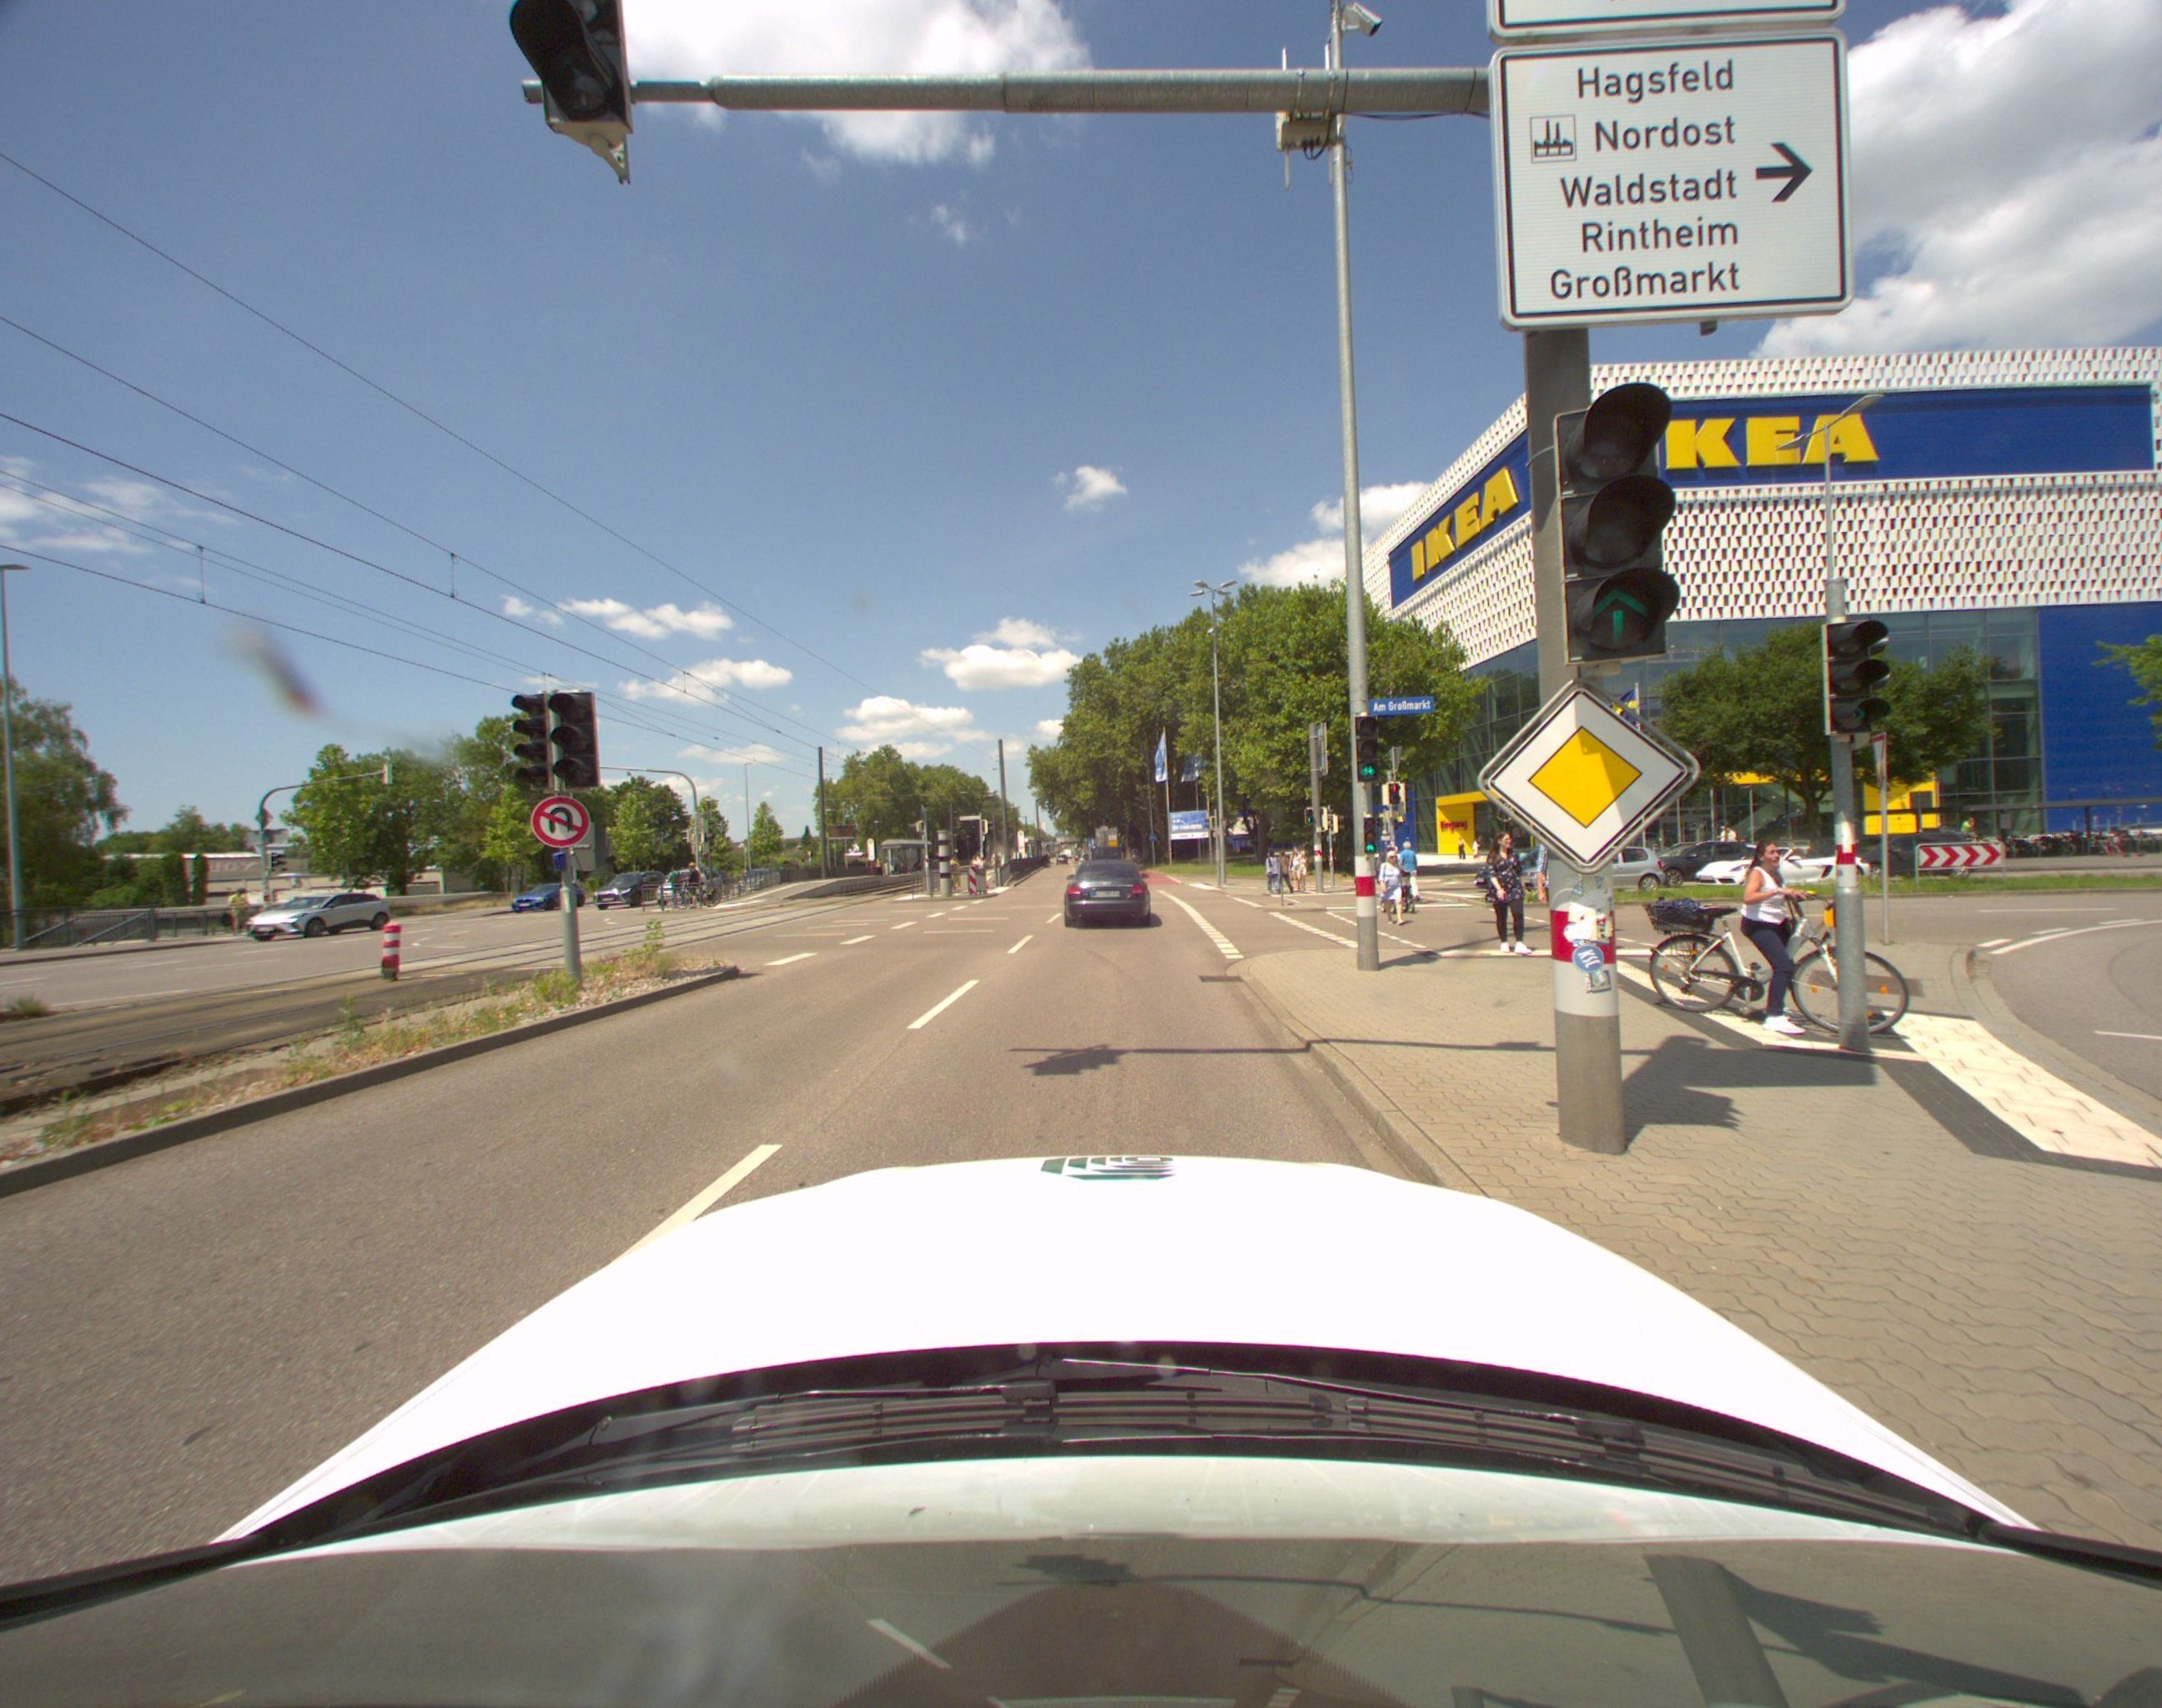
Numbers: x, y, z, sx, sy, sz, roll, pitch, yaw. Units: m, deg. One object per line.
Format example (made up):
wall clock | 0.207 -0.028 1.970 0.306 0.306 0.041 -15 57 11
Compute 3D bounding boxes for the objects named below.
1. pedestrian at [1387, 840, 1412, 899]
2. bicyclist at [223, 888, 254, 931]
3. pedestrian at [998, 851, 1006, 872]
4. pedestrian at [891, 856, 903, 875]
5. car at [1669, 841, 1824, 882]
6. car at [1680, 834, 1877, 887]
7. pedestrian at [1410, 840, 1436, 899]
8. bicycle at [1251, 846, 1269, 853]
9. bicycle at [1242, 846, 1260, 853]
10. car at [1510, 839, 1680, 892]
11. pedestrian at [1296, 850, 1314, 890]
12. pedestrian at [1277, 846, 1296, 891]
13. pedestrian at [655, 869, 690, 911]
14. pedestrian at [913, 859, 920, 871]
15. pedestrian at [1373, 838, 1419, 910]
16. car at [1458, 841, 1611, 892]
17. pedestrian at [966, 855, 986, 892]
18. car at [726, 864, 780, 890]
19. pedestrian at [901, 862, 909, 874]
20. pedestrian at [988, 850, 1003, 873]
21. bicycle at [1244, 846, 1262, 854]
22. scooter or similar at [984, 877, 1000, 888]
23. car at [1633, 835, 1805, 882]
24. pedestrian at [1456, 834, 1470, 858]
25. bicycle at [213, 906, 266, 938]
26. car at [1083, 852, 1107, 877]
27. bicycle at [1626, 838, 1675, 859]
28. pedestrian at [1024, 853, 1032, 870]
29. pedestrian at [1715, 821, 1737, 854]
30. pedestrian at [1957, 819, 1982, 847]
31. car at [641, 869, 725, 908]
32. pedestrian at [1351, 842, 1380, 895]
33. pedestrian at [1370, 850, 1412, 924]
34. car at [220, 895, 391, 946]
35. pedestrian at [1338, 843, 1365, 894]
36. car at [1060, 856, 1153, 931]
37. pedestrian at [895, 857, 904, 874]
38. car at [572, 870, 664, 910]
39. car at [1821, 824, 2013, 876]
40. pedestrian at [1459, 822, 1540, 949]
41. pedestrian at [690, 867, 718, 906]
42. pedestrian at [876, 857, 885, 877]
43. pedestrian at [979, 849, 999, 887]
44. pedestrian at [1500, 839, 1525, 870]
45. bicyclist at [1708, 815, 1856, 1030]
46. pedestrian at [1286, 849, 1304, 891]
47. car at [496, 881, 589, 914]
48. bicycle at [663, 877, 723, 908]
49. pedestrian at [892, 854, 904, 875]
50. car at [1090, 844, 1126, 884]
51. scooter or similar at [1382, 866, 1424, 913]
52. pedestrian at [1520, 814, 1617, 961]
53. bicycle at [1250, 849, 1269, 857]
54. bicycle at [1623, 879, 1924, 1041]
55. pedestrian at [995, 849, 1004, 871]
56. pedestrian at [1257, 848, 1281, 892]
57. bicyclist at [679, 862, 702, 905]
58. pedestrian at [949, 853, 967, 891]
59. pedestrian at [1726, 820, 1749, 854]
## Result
pedestrian | 9.085 0.446 23.218 0.600 1.638 0.868 -2 -2 21
bicyclist | -32.436 2.142 31.367 0.583 1.610 0.545 -2 0 5
pedestrian | -5.788 0.547 59.539 0.496 1.577 0.556 -2 0 -2
pedestrian | -16.400 0.992 72.542 0.817 1.638 0.582 -2 0 36
car | 25.479 0.271 31.293 4.384 1.398 1.864 -2 0 1
car | 20.296 0.171 23.812 4.205 1.398 1.804 -1 0 0
pedestrian | 9.643 0.435 22.974 0.597 1.638 0.868 -2 -2 21
bicycle | 25.766 -0.693 117.329 2.312 0.960 0.757 -1 0 -6
bicycle | 25.677 -0.636 122.952 2.542 0.970 0.757 -1 0 -6
car | 14.862 0.313 23.669 3.812 1.397 1.803 -1 0 -1
pedestrian | 8.983 0.624 32.683 0.525 1.580 0.612 -1 0 3
pedestrian | 7.867 0.536 31.115 0.618 1.683 0.729 -2 0 17
pedestrian | -16.412 1.423 32.743 0.954 1.610 0.763 -2 0 -3
pedestrian | -16.737 1.087 82.782 0.574 1.190 0.639 -2 0 0
pedestrian | 7.602 0.478 19.676 0.778 1.672 0.948 -1 0 6
car | 14.962 0.394 27.023 3.977 1.555 1.998 -1 0 -3
pedestrian | -4.600 0.854 35.602 0.783 1.572 0.763 -1 0 -4
car | -22.124 1.513 55.065 1.987 1.629 4.000 -1 0 0
pedestrian | -16.272 1.284 75.196 0.574 1.094 0.639 -2 0 0
pedestrian | -6.057 0.515 57.665 0.888 1.605 0.923 -2 0 -2
bicycle | 25.754 -0.647 121.685 2.542 1.110 0.757 -1 0 -6
scooter or similar | -4.375 1.399 39.939 0.725 0.506 0.457 -2 0 -4
car | 21.345 0.143 27.350 4.388 1.443 1.852 -1 0 -2
pedestrian | 28.849 -0.603 61.457 0.775 1.735 0.743 -2 0 11
bicycle | -32.420 2.599 31.370 1.521 1.193 0.591 -1 -2 6
car | 1.149 0.829 67.278 1.842 1.959 4.145 -1 0 1
bicycle | 33.122 -0.298 47.427 0.801 1.145 2.421 -1 0 -14
pedestrian | -5.323 0.712 81.340 0.730 1.665 0.742 -2 0 -2
pedestrian | 39.814 -1.015 50.266 0.792 2.013 0.735 -2 0 11
pedestrian | 51.526 -1.205 47.232 0.765 1.586 0.579 -2 0 -6
car | -18.905 1.596 38.874 1.987 1.629 4.000 -1 0 0
pedestrian | 9.046 0.460 25.945 0.789 1.659 0.856 -2 0 16
pedestrian | 6.378 0.667 16.771 0.587 1.476 0.807 -1 0 4
car | -27.332 2.289 28.933 1.988 1.463 4.276 -2 -1 -1
pedestrian | 9.002 0.471 27.106 0.789 1.659 0.856 -2 0 16
car | 0.636 0.810 18.329 1.834 1.484 4.004 -1 0 3
pedestrian | -16.334 1.051 73.314 0.574 1.533 0.639 -2 0 0
car | -21.754 1.669 38.472 1.987 1.629 4.000 -2 0 0
car | 27.630 -0.123 27.030 4.384 1.584 1.864 -1 0 1
pedestrian | 6.021 0.449 11.773 0.799 1.759 0.799 -1 0 9
pedestrian | -15.656 1.352 33.809 0.760 1.548 0.763 -2 0 -3
pedestrian | -16.185 1.049 65.764 0.556 1.638 0.804 -2 0 -8
pedestrian | -4.481 0.691 39.746 0.861 1.802 0.882 -1 0 -5
pedestrian | 22.656 0.024 42.755 0.917 1.586 0.632 -2 0 -6
bicyclist | 6.027 0.536 7.008 0.820 1.700 0.790 -1 0 -38
pedestrian | 8.459 0.628 32.188 0.525 1.666 0.641 -1 0 3
car | -28.015 2.242 42.575 1.988 1.445 4.347 -1 0 -2
bicycle | -15.070 1.487 31.689 1.976 1.101 0.760 -1 0 -17
pedestrian | -15.997 0.926 71.109 0.729 1.729 0.582 -2 0 36
car | 1.417 0.512 43.627 1.842 1.959 4.145 -1 0 1
scooter or similar | 7.535 0.823 19.088 0.686 1.031 0.864 -2 0 6
pedestrian | 6.462 0.434 10.829 0.800 1.865 0.798 -1 0 3
bicycle | 26.233 -0.136 119.542 2.542 1.110 0.757 -1 0 -6
bicycle | 5.958 0.830 7.112 0.835 1.162 1.857 -1 0 -38
pedestrian | -6.098 0.453 60.851 0.612 1.681 0.719 -1 0 -3
pedestrian | 7.077 0.598 30.615 0.759 1.606 0.900 -2 0 17
bicyclist | -15.078 1.138 31.476 0.665 1.615 0.729 -1 0 -17
pedestrian | -5.559 0.795 36.787 0.730 1.673 0.677 -1 0 -4
pedestrian | 39.870 -1.022 49.442 0.793 2.013 0.734 -2 0 7
